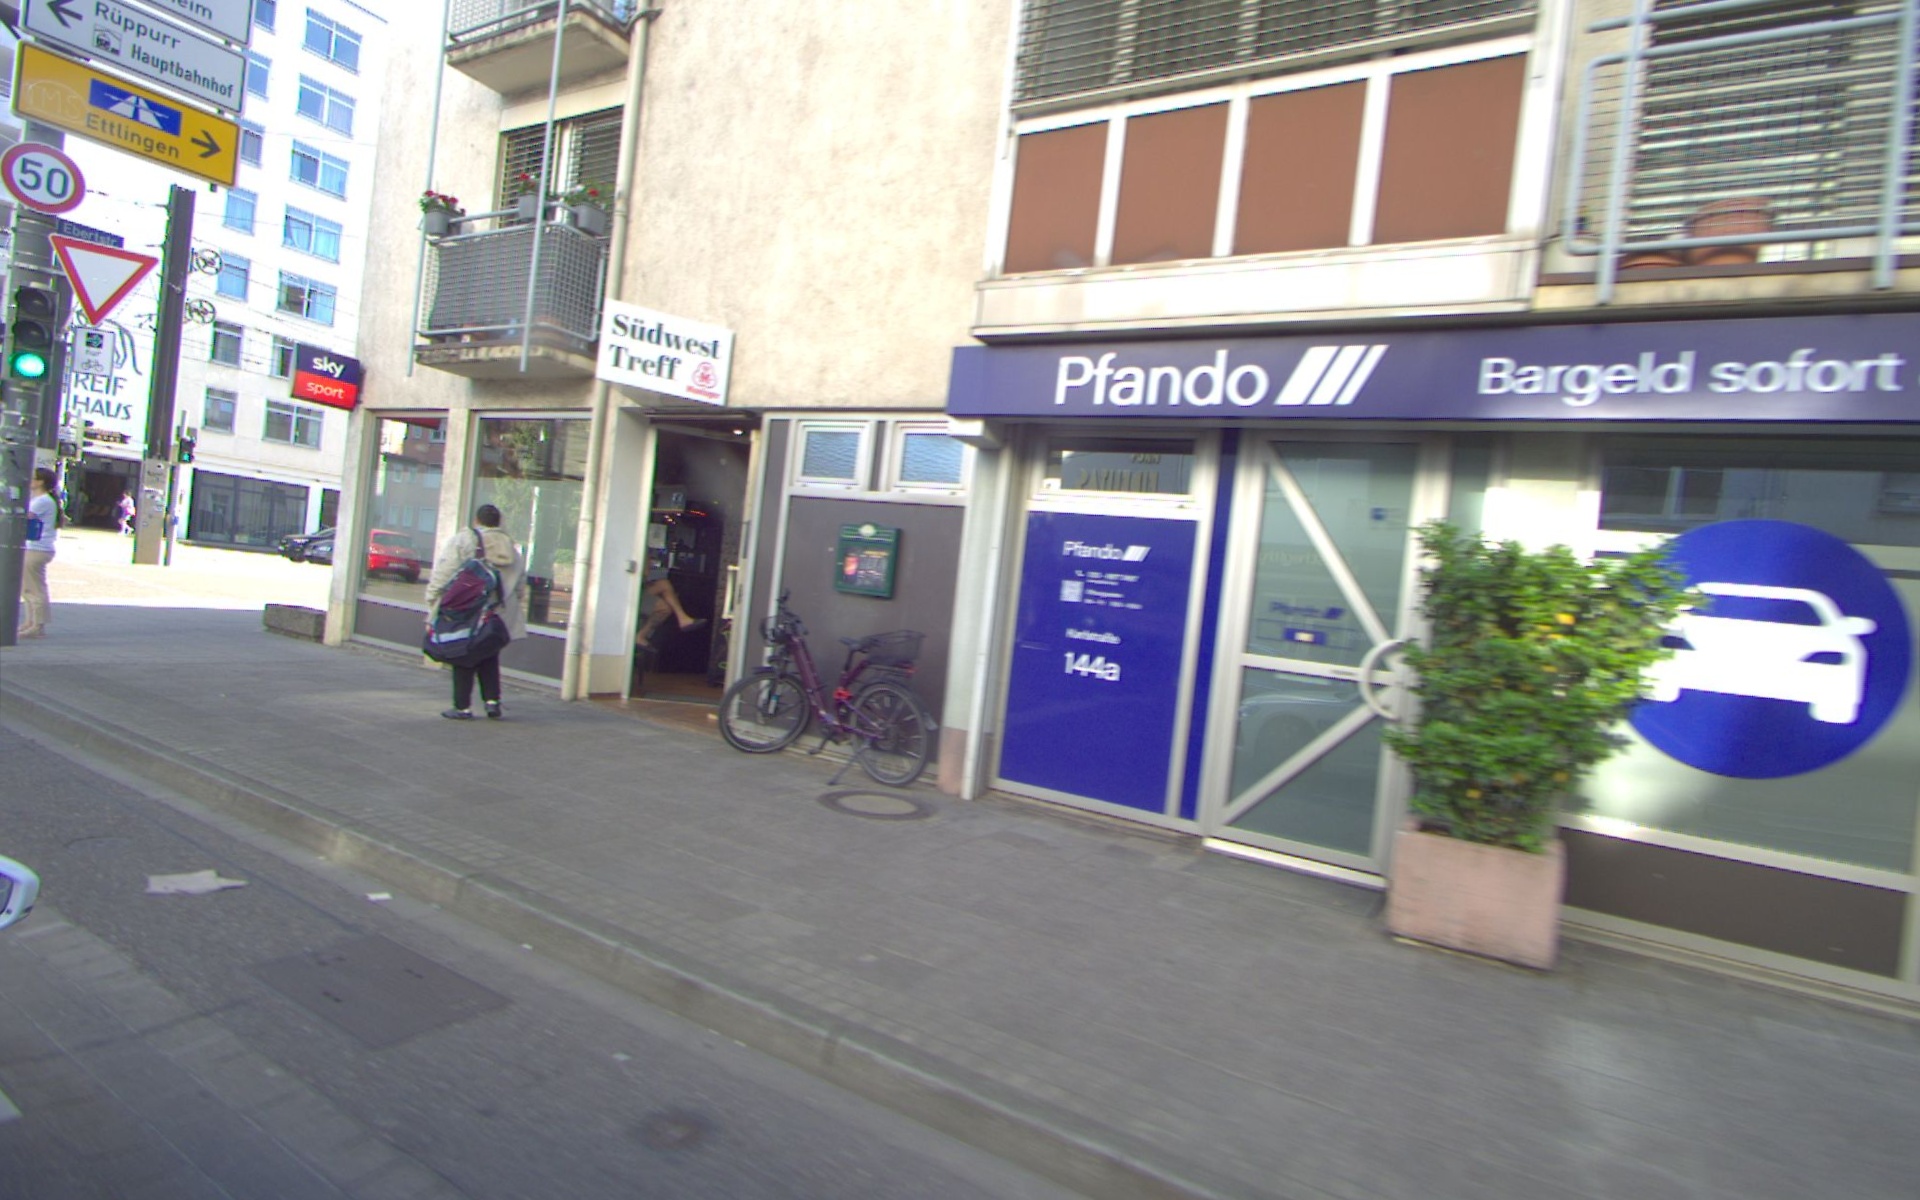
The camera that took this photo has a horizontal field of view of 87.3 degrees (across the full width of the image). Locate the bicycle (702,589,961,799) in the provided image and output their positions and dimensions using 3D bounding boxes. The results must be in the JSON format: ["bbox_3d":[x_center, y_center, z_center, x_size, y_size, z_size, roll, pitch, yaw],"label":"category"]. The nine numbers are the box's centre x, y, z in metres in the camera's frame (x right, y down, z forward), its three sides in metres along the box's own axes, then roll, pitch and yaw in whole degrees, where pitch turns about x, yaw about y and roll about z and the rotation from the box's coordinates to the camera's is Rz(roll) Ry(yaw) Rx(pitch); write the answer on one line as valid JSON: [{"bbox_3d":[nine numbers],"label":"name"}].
[{"bbox_3d":[-0.921,0.600,6.944,1.748,1.176,0.497,6,0,32],"label":"bicycle"}]

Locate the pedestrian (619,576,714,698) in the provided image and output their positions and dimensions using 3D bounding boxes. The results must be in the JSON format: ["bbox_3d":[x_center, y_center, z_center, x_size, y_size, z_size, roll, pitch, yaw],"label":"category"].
[{"bbox_3d":[-2.899,0.352,9.991,0.667,1.102,0.624,7,1,-2],"label":"pedestrian"}]

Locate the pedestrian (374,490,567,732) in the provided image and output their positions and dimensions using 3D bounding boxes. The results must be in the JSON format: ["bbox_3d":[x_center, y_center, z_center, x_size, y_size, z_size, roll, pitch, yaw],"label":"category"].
[{"bbox_3d":[-3.601,0.069,7.436,0.796,1.614,0.885,8,3,27],"label":"pedestrian"}]

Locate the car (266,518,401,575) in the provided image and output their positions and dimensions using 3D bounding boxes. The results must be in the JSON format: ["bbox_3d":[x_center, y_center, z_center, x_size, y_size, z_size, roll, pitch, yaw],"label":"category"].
[{"bbox_3d":[-24.553,-2.073,39.562,1.766,1.594,4.038,6,-1,32],"label":"car"}]

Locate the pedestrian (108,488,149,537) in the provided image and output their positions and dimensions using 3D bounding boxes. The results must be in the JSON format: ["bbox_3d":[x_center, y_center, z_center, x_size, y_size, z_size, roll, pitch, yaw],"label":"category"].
[{"bbox_3d":[-33.072,-3.475,40.001,0.725,1.766,0.908,7,-1,31],"label":"pedestrian"}]

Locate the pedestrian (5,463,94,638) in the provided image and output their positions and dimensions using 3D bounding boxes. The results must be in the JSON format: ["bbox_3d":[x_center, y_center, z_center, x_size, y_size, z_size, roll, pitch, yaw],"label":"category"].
[{"bbox_3d":[-8.945,-0.473,9.903,0.535,1.646,0.727,1,3,-33],"label":"pedestrian"}]

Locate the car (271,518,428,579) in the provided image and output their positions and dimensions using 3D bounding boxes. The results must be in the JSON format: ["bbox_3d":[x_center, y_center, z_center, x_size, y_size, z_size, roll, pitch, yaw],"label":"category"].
[{"bbox_3d":[-22.354,-1.867,37.010,1.906,1.566,4.441,6,-2,35],"label":"car"}]
